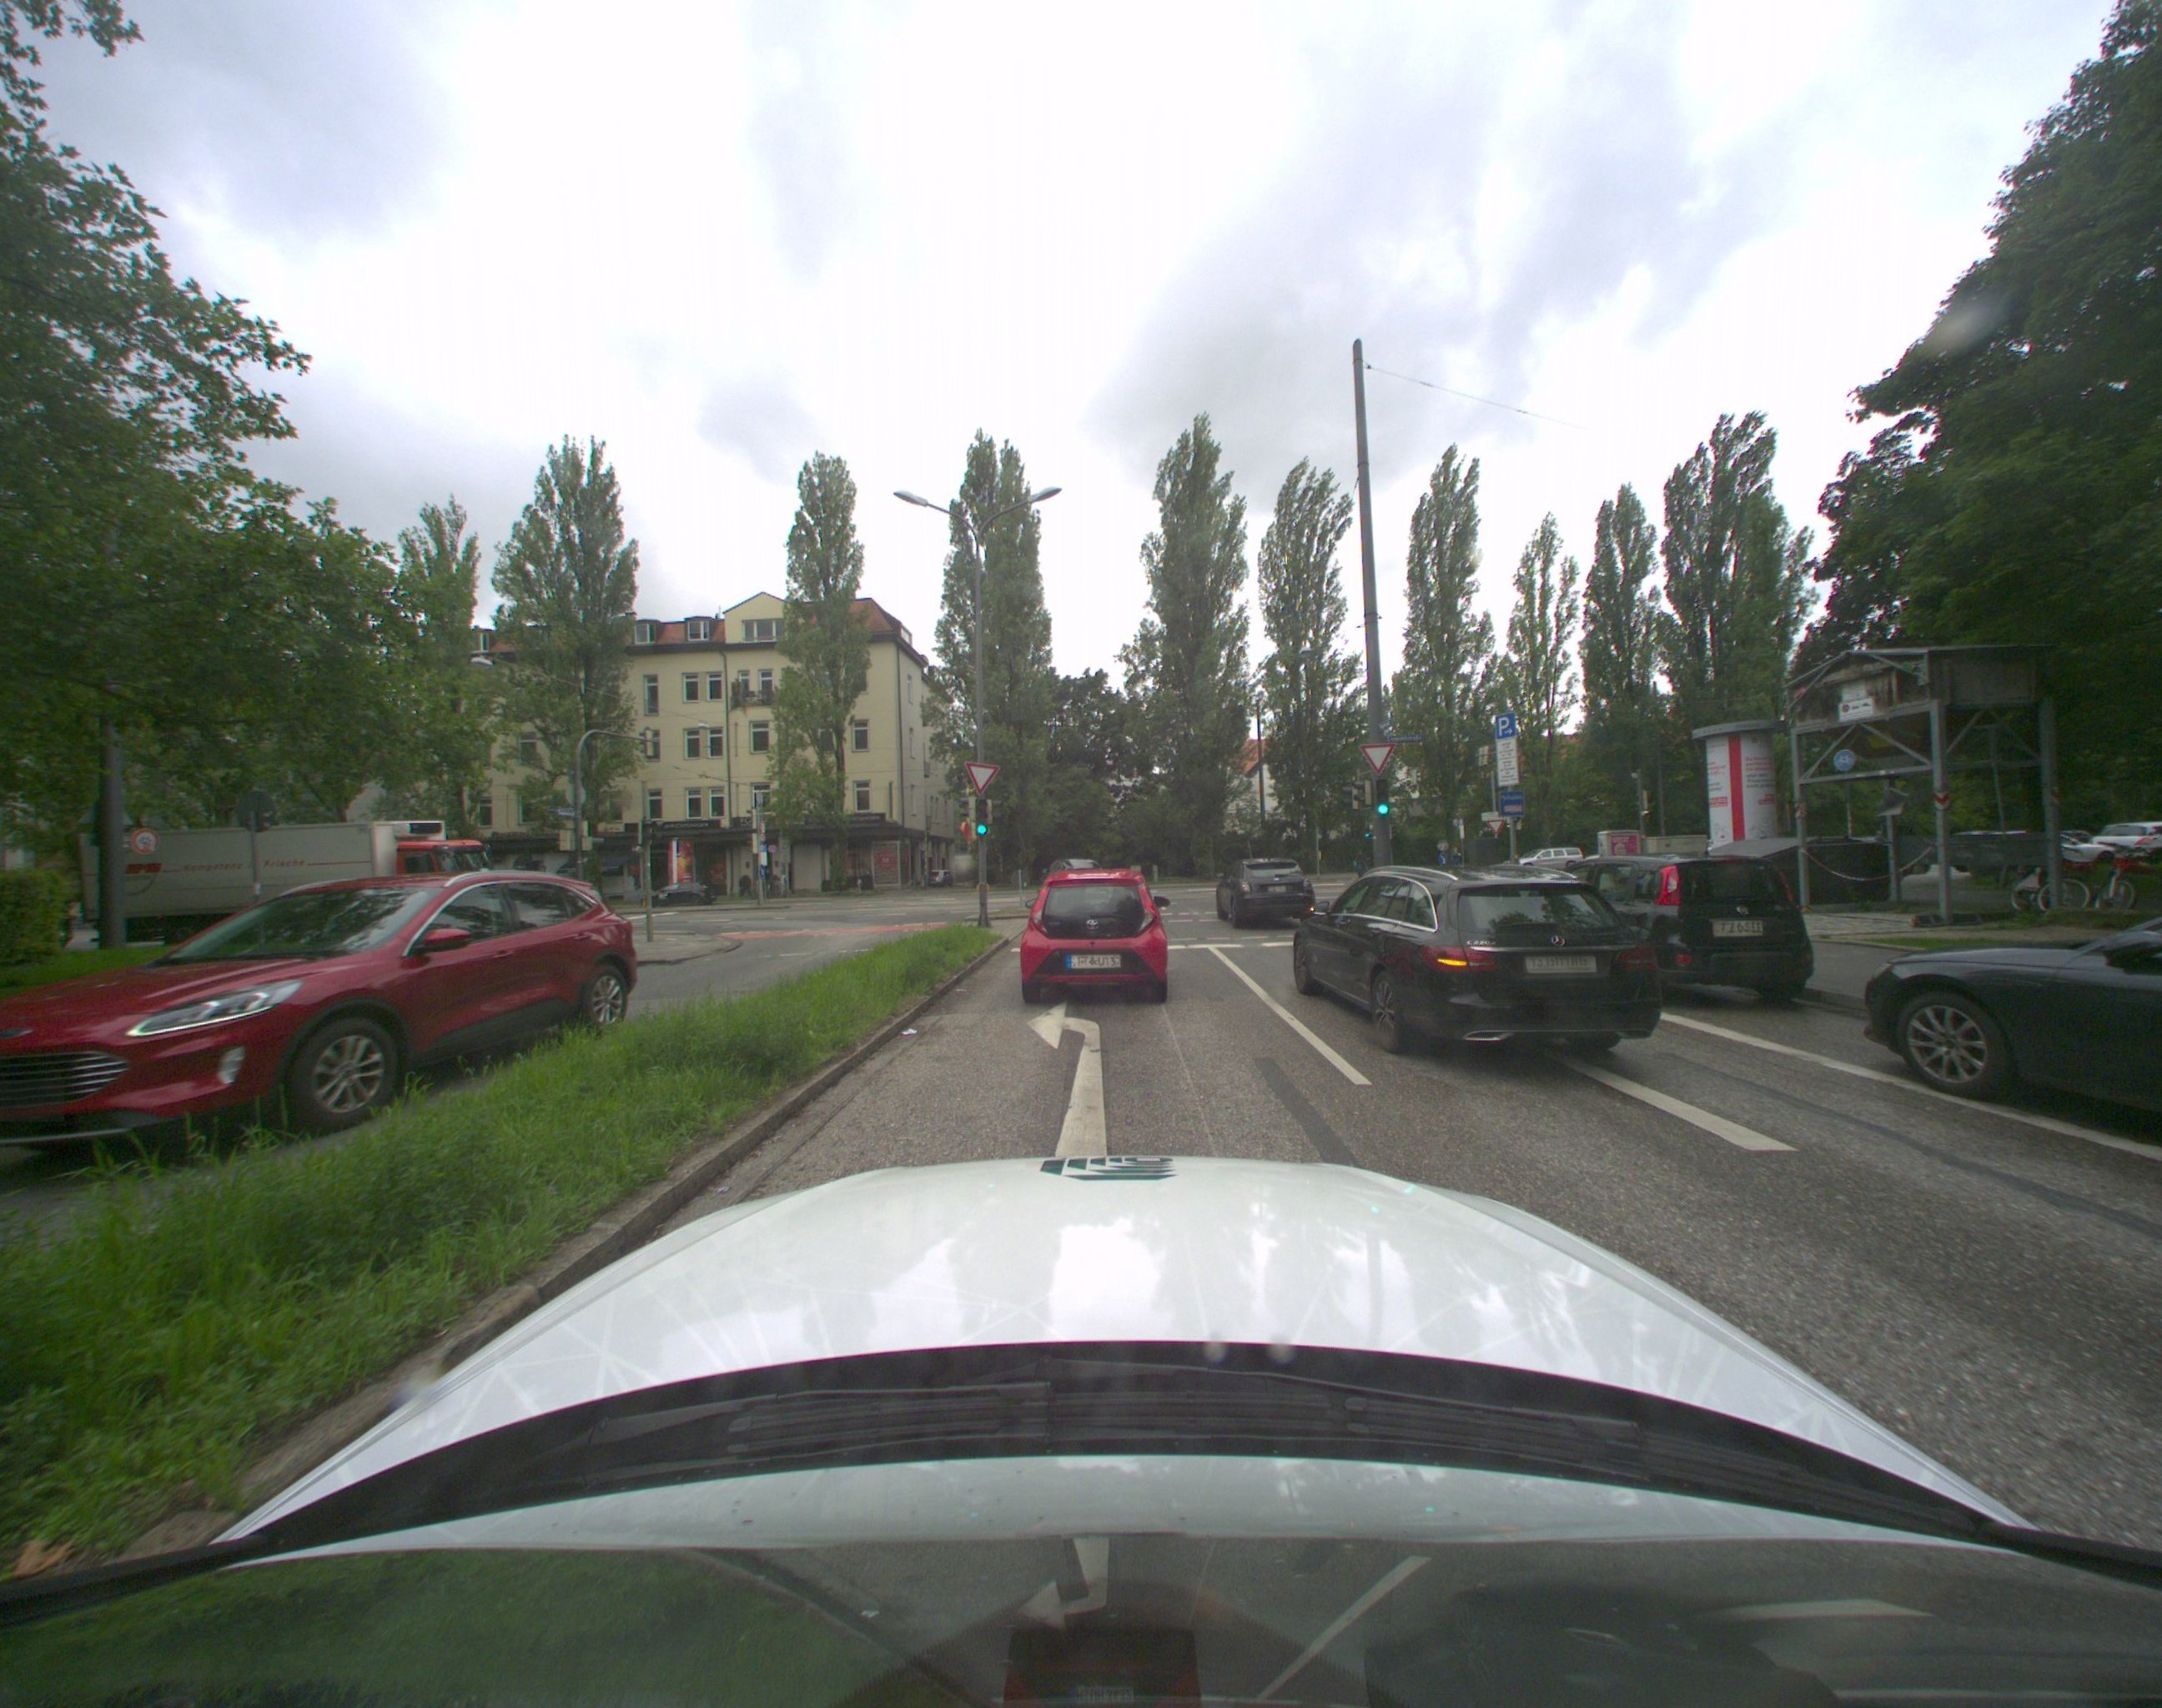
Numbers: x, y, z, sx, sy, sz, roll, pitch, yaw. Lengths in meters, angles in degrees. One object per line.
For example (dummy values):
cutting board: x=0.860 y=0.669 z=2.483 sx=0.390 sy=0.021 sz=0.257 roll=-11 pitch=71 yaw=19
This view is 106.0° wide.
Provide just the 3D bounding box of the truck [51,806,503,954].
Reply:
truck: x=-25.310 y=0.769 z=25.997 sx=11.634 sy=3.980 sz=2.749 roll=-2 pitch=0 yaw=1

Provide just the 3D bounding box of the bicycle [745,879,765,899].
bicycle: x=-20.790 y=2.245 z=51.929 sx=0.493 sy=1.185 sz=1.888 roll=-2 pitch=-1 yaw=-1

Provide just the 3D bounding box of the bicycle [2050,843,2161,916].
bicycle: x=15.486 y=0.356 z=11.904 sx=2.231 sy=1.016 sz=0.628 roll=0 pitch=-2 yaw=-9

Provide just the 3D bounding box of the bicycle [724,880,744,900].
bicycle: x=-22.140 y=2.284 z=51.968 sx=0.493 sy=1.185 sz=1.888 roll=-2 pitch=-1 yaw=-1

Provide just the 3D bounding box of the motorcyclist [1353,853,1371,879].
motorcyclist: x=15.664 y=0.655 z=45.387 sx=0.617 sy=1.443 sz=0.881 roll=0 pitch=-2 yaw=-3

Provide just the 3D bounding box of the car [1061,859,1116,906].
car: x=0.355 y=0.992 z=30.092 sx=1.728 sy=1.549 sz=4.580 roll=-2 pitch=-1 yaw=3

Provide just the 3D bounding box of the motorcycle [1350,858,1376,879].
motorcycle: x=15.673 y=0.816 z=45.278 sx=0.627 sy=1.170 sz=2.027 roll=0 pitch=-1 yaw=-3

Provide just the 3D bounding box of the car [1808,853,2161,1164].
car: x=6.114 y=0.741 z=3.526 sx=1.762 sy=1.461 sz=4.641 roll=-2 pitch=-1 yaw=0

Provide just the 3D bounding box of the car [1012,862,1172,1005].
car: x=0.217 y=0.849 z=10.222 sx=1.621 sy=1.440 sz=3.379 roll=-2 pitch=-1 yaw=3

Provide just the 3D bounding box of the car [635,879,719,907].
car: x=-23.597 y=2.262 z=47.691 sx=3.977 sy=1.466 sz=1.804 roll=-2 pitch=-1 yaw=-2

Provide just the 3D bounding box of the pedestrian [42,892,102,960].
pedestrian: x=-26.193 y=1.854 z=21.153 sx=0.660 sy=1.663 sz=0.683 roll=-2 pitch=-1 yaw=-11

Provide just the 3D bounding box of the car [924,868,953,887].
car: x=-11.785 y=1.933 z=67.468 sx=1.720 sy=1.442 sz=3.998 roll=-2 pitch=-1 yaw=-1

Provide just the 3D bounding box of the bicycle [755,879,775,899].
bicycle: x=-20.094 y=2.236 z=51.836 sx=0.493 sy=1.185 sz=1.888 roll=-2 pitch=-1 yaw=-1

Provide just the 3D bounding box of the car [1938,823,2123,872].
car: x=31.836 y=-0.211 z=27.382 sx=4.351 sy=1.407 sz=1.729 roll=-2 pitch=-1 yaw=-3

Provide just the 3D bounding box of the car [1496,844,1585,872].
car: x=27.814 y=0.246 z=49.365 sx=4.324 sy=1.486 sz=1.786 roll=-2 pitch=-1 yaw=0

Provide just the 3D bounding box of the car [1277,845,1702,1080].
car: x=3.277 y=0.746 z=7.772 sx=1.856 sy=1.549 sz=4.706 roll=-1 pitch=-1 yaw=2

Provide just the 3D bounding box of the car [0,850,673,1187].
car: x=-5.610 y=0.841 z=6.548 sx=2.097 sy=1.638 sz=4.938 roll=-3 pitch=0 yaw=0

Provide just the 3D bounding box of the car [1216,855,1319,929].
car: x=4.235 y=0.827 z=19.100 sx=1.772 sy=1.486 sz=4.005 roll=-2 pitch=-1 yaw=5

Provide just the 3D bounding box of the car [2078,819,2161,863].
car: x=37.112 y=-0.484 z=27.753 sx=4.351 sy=1.407 sz=1.729 roll=-2 pitch=-1 yaw=-3

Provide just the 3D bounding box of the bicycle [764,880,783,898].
bicycle: x=-19.569 y=2.240 z=51.876 sx=0.493 sy=1.082 sz=1.888 roll=-2 pitch=-1 yaw=-1

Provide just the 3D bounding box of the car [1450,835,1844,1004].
car: x=6.424 y=0.645 z=10.050 sx=1.823 sy=1.549 sz=4.558 roll=-2 pitch=-1 yaw=3

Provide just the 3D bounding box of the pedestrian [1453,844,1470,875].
pedestrian: x=20.908 y=0.321 z=44.732 sx=0.693 sy=1.663 sz=0.555 roll=-2 pitch=-2 yaw=42
